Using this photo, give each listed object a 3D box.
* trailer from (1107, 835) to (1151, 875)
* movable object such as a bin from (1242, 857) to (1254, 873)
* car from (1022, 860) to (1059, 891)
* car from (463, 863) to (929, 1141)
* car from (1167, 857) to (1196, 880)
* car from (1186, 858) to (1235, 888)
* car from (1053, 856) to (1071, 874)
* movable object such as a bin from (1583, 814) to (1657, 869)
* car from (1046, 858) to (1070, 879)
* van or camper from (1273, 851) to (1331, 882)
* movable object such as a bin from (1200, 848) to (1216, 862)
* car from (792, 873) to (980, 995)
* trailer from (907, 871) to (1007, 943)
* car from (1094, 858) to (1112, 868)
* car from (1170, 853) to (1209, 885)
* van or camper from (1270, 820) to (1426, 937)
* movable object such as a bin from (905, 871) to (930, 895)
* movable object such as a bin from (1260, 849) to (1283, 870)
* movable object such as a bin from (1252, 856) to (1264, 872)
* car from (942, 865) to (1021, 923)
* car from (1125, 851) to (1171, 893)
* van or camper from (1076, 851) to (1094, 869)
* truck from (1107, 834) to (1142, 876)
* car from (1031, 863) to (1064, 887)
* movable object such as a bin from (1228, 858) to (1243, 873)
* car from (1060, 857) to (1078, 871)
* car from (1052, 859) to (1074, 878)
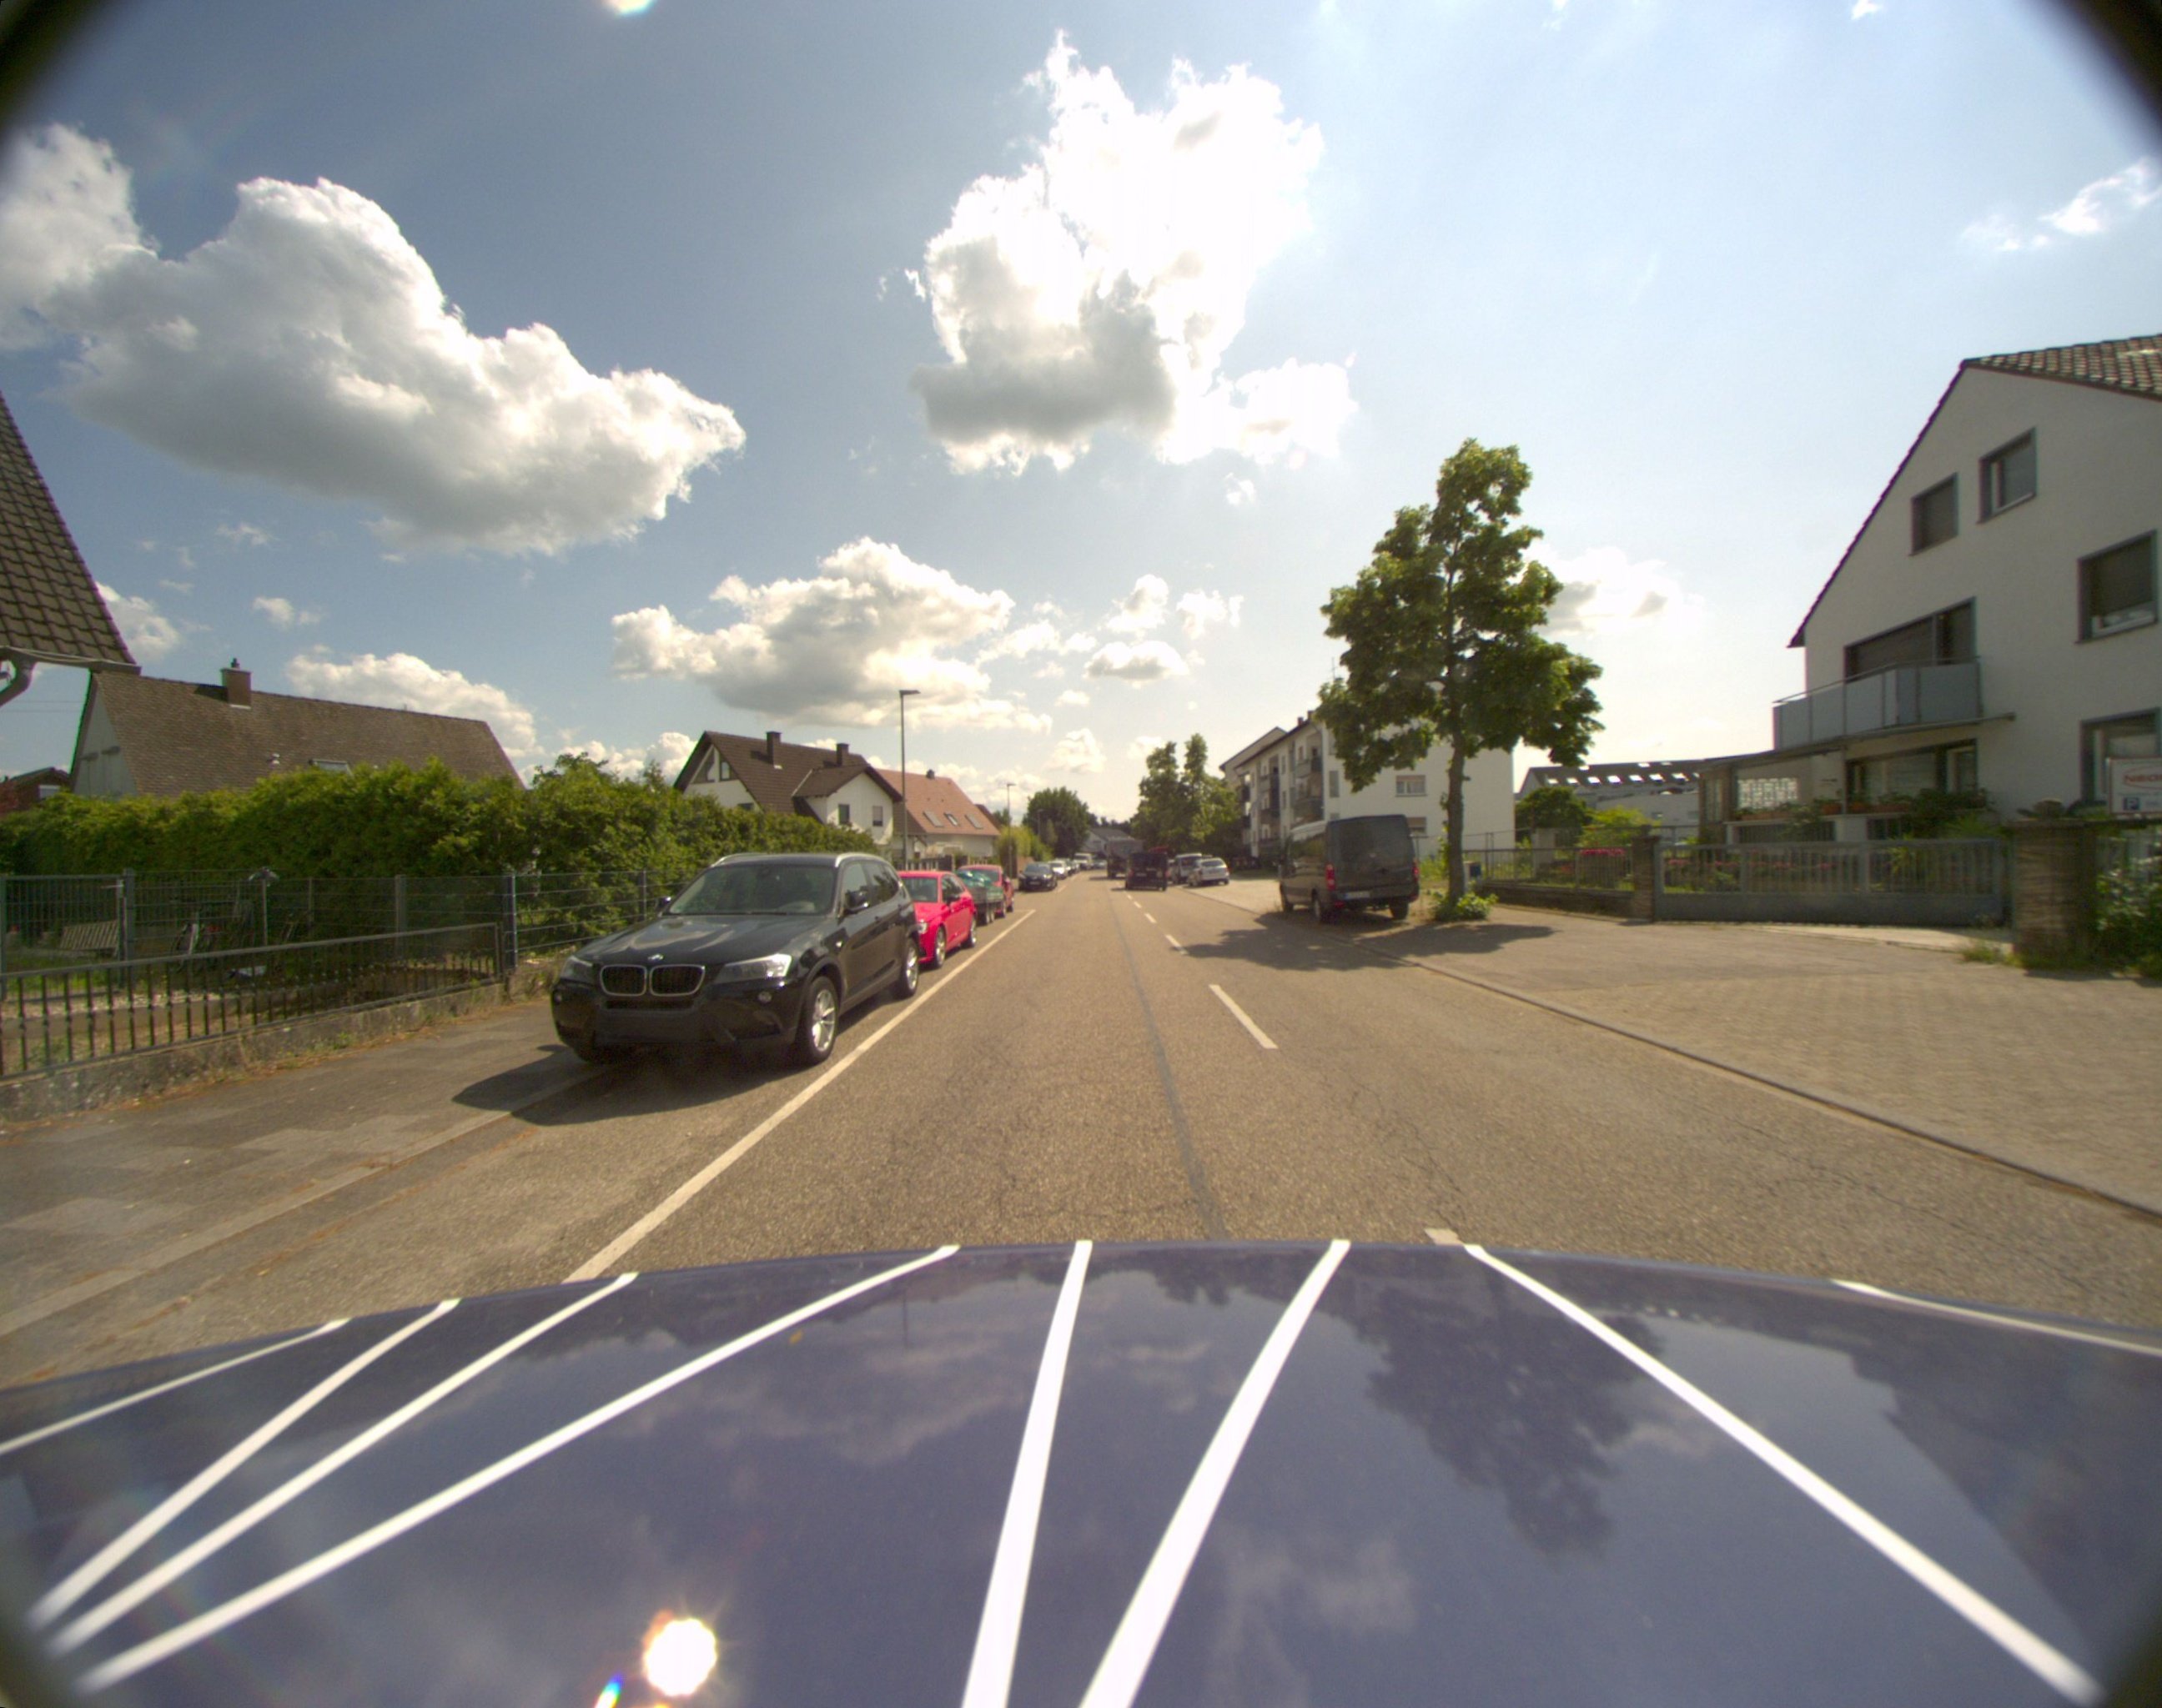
[{"bbox_3d":[3.810,0.070,62.404,2.842,3.051,8.888,-1,0,-1],"label":"trailer"},{"bbox_3d":[13.128,0.887,59.857,0.752,1.206,0.806,-2,-2,1],"label":"movable object such as a bin"},{"bbox_3d":[-2.108,1.102,40.568,1.748,1.541,4.121,0,0,0],"label":"car"},{"bbox_3d":[-2.864,0.954,7.015,1.834,1.652,4.554,-1,0,2],"label":"car"},{"bbox_3d":[7.132,1.015,54.271,1.626,1.460,3.926,-3,0,2],"label":"car"},{"bbox_3d":[7.152,1.076,42.533,1.753,1.452,4.709,-4,-1,-1],"label":"car"},{"bbox_3d":[-1.667,0.972,68.389,1.446,1.496,3.671,-3,0,0],"label":"car"},{"bbox_3d":[15.924,-0.337,22.523,1.310,1.422,1.606,-1,-6,18],"label":"movable object such as a bin"},{"bbox_3d":[-1.858,1.167,62.612,1.749,1.543,4.292,-2,0,1],"label":"car"},{"bbox_3d":[12.434,0.691,42.589,1.776,1.534,4.008,-3,0,37],"label":"van or camper"},{"bbox_3d":[13.031,0.086,78.115,1.299,1.377,1.291,-2,-1,-5],"label":"movable object such as a bin"},{"bbox_3d":[-2.807,1.094,11.926,1.688,1.427,4.146,-2,0,2],"label":"car"},{"bbox_3d":[-2.784,1.149,17.972,1.612,1.370,4.432,-2,0,0],"label":"trailer"},{"bbox_3d":[3.477,1.371,119.044,1.817,1.513,4.270,0,-1,15],"label":"car"},{"bbox_3d":[6.830,0.925,48.197,1.814,1.795,4.491,-4,0,1],"label":"car"},{"bbox_3d":[6.312,0.510,18.850,1.998,2.303,5.935,-4,0,4],"label":"van or camper"},{"bbox_3d":[-7.230,1.277,33.611,0.776,1.052,0.768,-1,0,18],"label":"movable object such as a bin"},{"bbox_3d":[14.220,0.432,56.796,1.274,1.374,1.266,-4,-5,1],"label":"movable object such as a bin"},{"bbox_3d":[13.922,0.783,59.821,0.752,1.206,0.806,-2,-2,1],"label":"movable object such as a bin"},{"bbox_3d":[-2.847,1.097,22.598,1.696,1.454,4.755,-2,0,0],"label":"car"},{"bbox_3d":[3.435,0.884,40.067,2.056,2.022,5.142,1,0,1],"label":"car"},{"bbox_3d":[0.550,0.865,104.324,1.972,2.345,5.761,0,-1,5],"label":"van or camper"},{"bbox_3d":[3.768,0.117,67.002,2.780,3.478,5.881,-1,0,0],"label":"truck"},{"bbox_3d":[-1.966,1.243,45.725,1.714,1.310,3.963,-1,0,2],"label":"car"},{"bbox_3d":[12.170,0.881,59.837,0.956,1.142,0.825,-2,-2,1],"label":"movable object such as a bin"},{"bbox_3d":[-1.325,1.118,84.243,1.731,1.496,4.296,0,0,2],"label":"car"},{"bbox_3d":[-1.690,1.353,73.512,1.896,1.763,4.709,-1,0,1],"label":"car"}]
